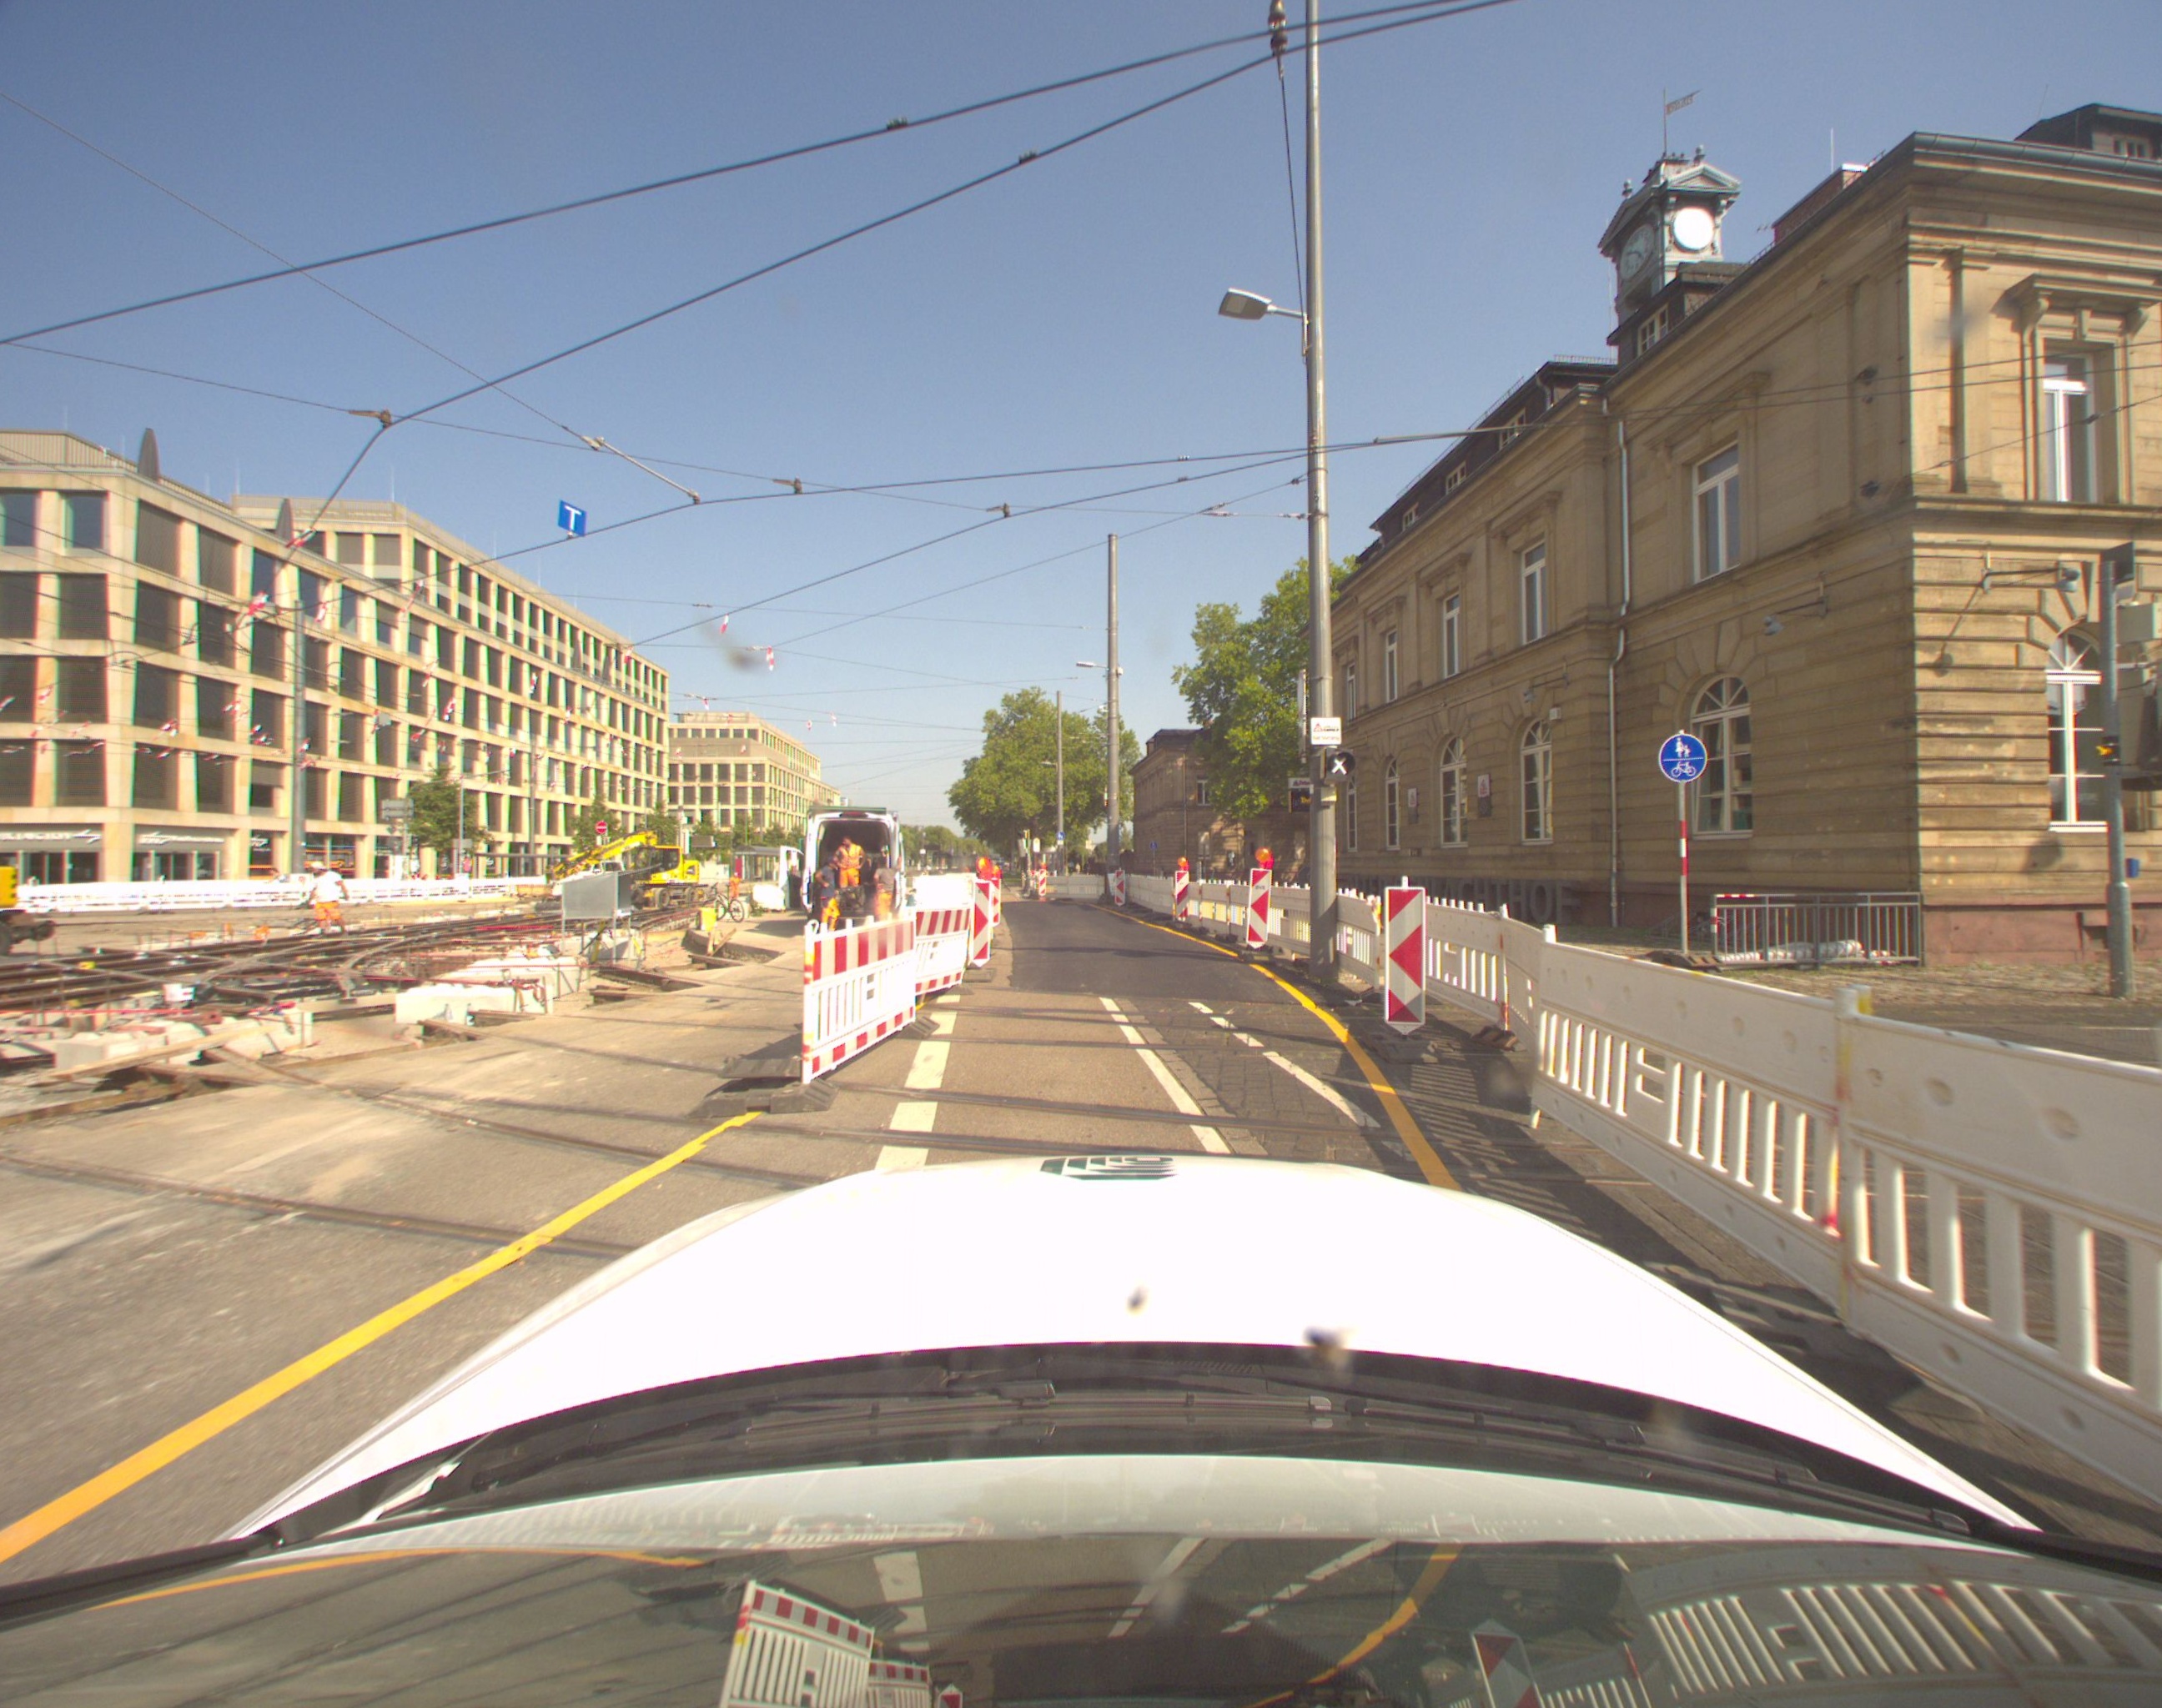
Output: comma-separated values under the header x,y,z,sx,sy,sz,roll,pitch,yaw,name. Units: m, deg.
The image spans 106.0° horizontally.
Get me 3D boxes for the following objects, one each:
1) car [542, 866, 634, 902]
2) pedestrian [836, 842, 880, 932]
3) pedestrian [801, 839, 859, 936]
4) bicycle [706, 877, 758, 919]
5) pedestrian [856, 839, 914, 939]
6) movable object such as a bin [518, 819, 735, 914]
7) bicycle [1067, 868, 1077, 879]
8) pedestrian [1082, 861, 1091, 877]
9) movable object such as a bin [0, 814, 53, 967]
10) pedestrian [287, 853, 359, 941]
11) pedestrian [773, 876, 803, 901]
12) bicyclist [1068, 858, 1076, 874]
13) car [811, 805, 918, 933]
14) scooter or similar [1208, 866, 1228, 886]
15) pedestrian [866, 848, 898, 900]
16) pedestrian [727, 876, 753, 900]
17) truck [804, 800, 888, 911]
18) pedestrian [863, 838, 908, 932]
x,y,z,sx,sy,sz,roll,pitch,yaw,name
-29.328,1.728,48.677,1.800,2.030,5.132,-1,-1,10,car
-5.190,0.756,18.980,0.731,2.014,0.907,-1,-1,0,pedestrian
-5.397,0.711,17.527,0.727,2.014,0.912,-2,-1,26,pedestrian
-9.863,1.240,22.989,1.640,1.136,0.621,-2,-2,37,bicycle
-4.080,0.716,17.014,0.727,2.014,0.913,-2,-1,28,pedestrian
-21.433,0.586,39.282,3.475,4.013,9.084,-1,-1,19,movable object such as a bin
-0.890,1.880,80.284,0.717,1.042,1.898,-1,-1,-7,bicycle
0.620,1.599,87.086,0.818,1.686,1.010,-3,-1,-5,pedestrian
-24.773,0.767,14.420,2.840,3.330,8.334,-1,-1,-3,movable object such as a bin
-16.720,0.923,17.994,1.025,1.866,1.133,0,-2,-37,pedestrian
-15.729,1.836,43.760,1.301,1.306,0.802,-1,-1,19,pedestrian
-0.907,1.212,80.371,0.717,1.543,0.953,-1,-1,-8,bicyclist
-5.410,0.365,20.130,2.230,2.729,5.141,0,-1,-17,car
9.030,1.451,53.625,1.259,1.210,0.418,-2,1,-31,scooter or similar
-6.669,0.666,27.315,0.698,1.694,0.770,-2,-2,31,pedestrian
-18.543,1.841,44.320,1.012,1.306,0.982,-1,-1,-2,pedestrian
-8.868,0.091,31.379,2.678,3.678,8.174,-1,-1,-14,truck
-4.316,0.679,18.024,0.731,2.014,0.907,-1,-1,1,pedestrian
